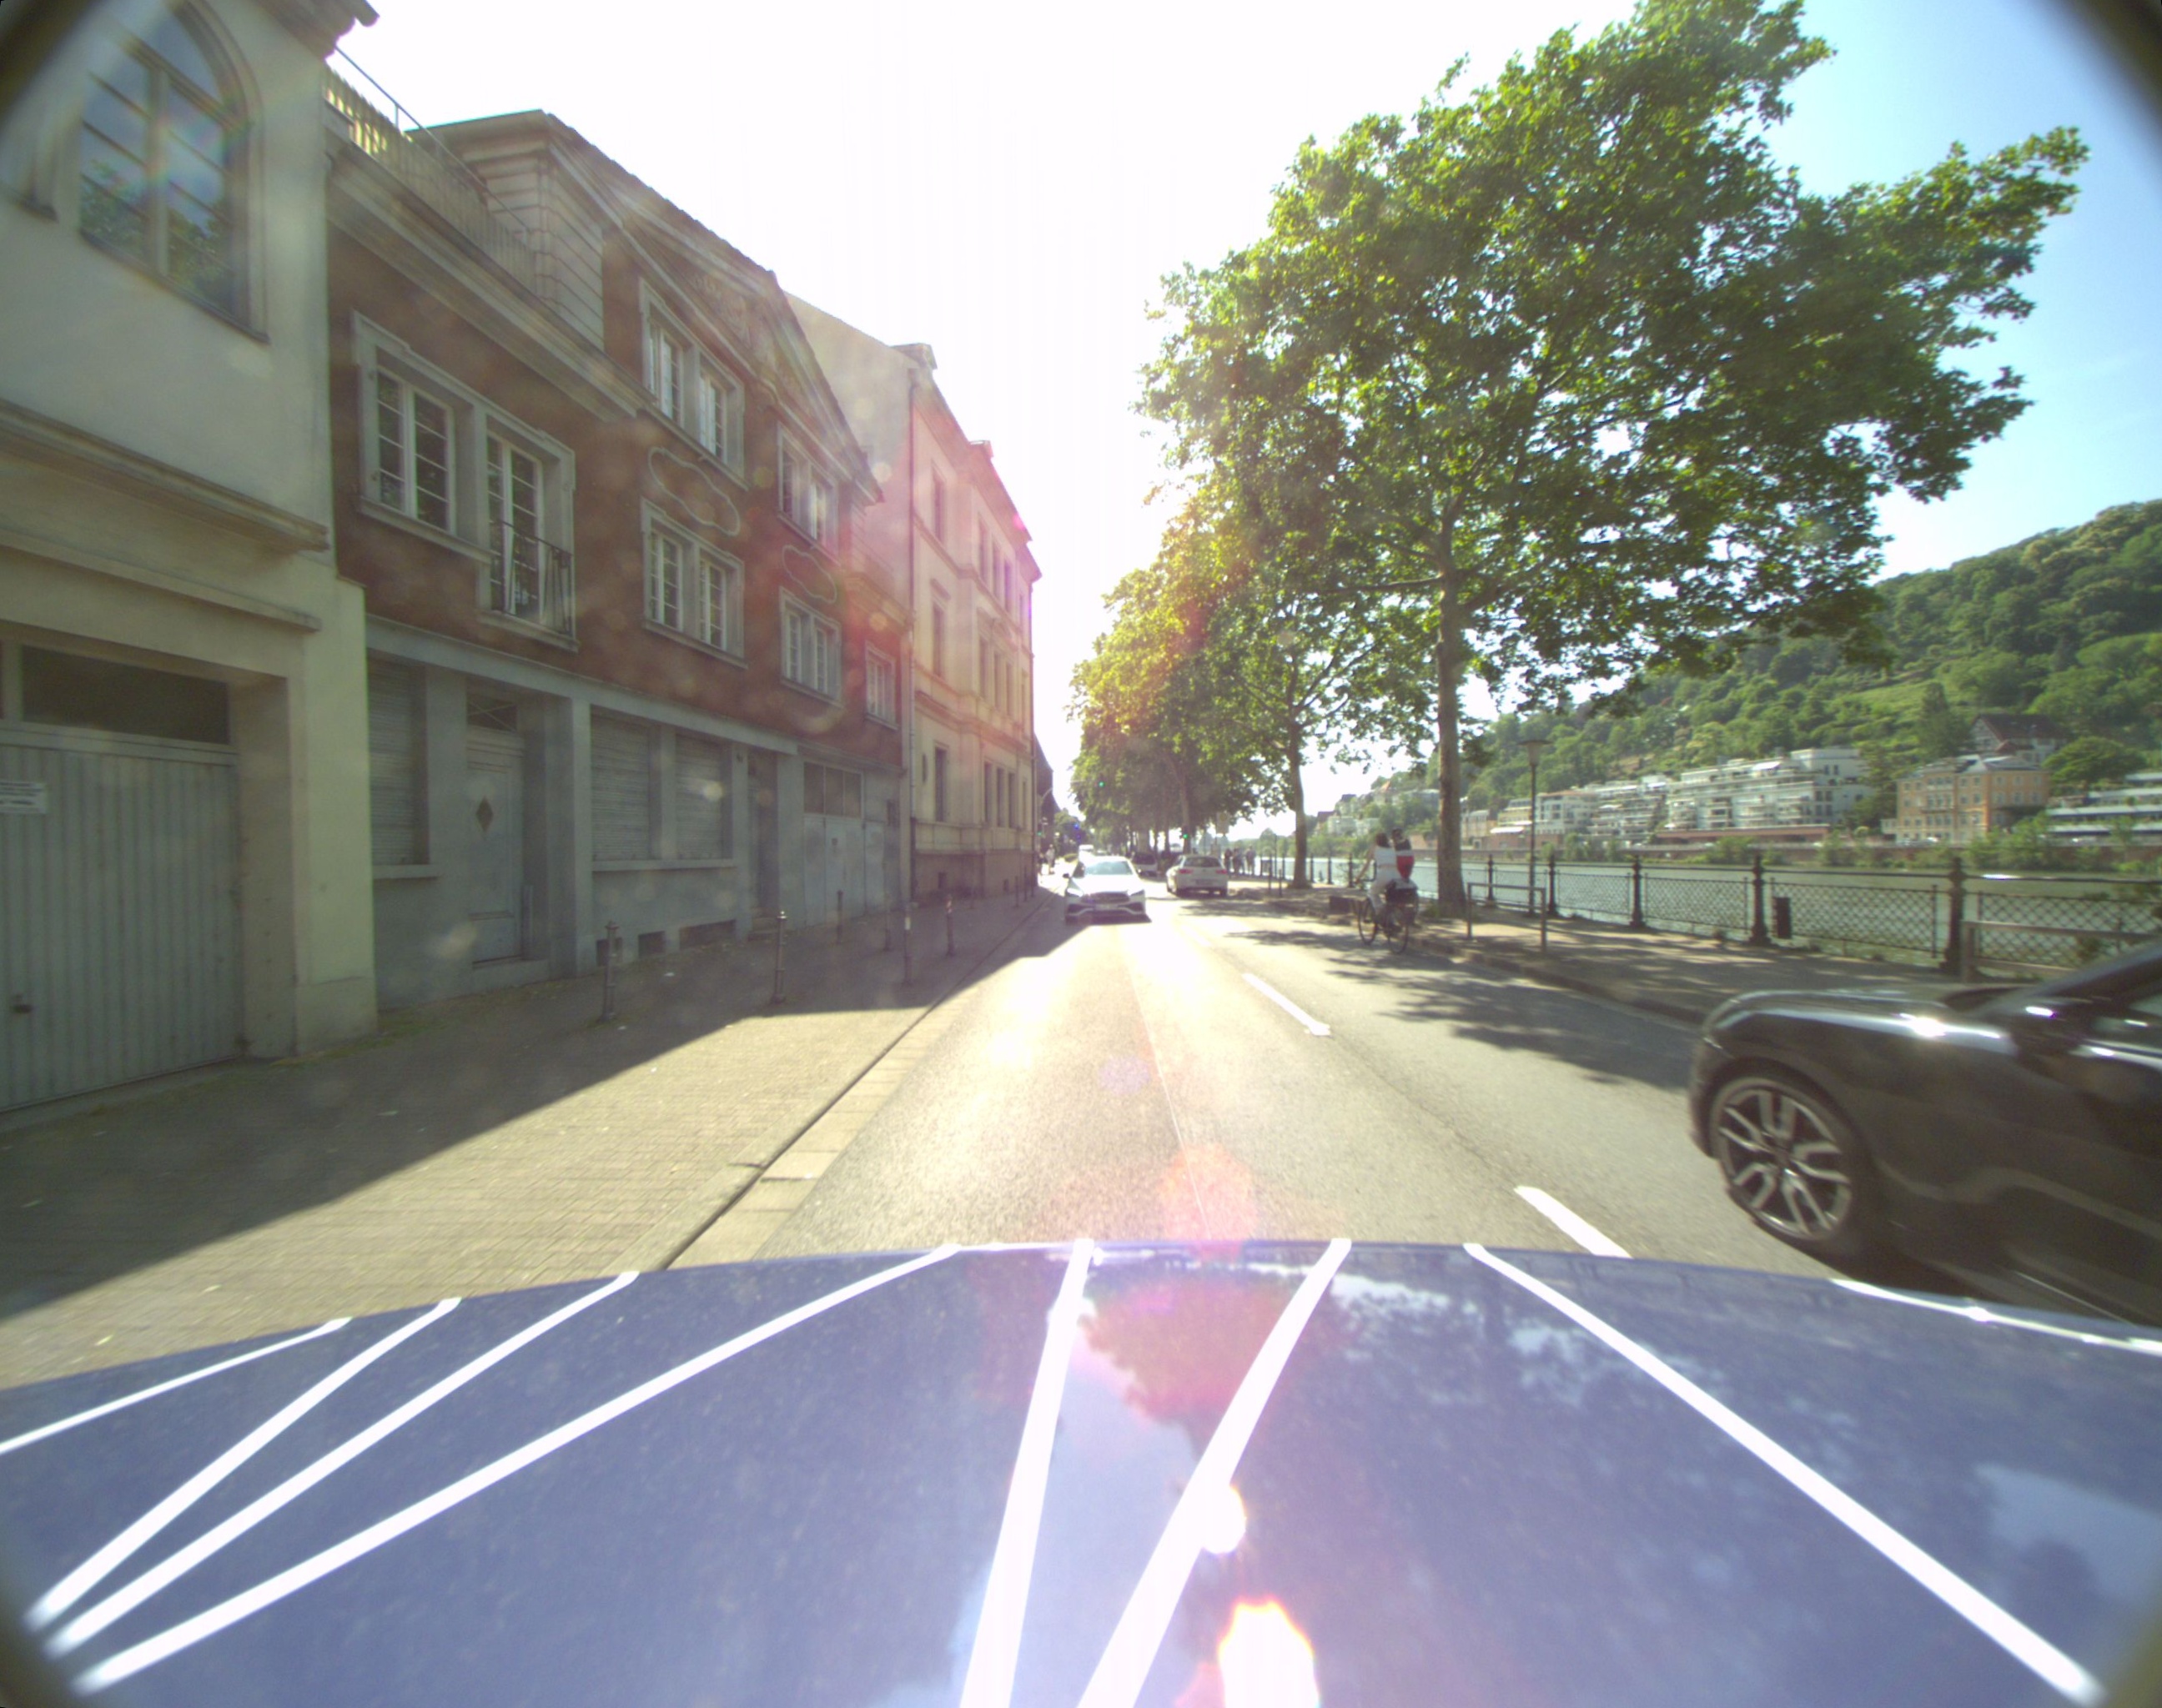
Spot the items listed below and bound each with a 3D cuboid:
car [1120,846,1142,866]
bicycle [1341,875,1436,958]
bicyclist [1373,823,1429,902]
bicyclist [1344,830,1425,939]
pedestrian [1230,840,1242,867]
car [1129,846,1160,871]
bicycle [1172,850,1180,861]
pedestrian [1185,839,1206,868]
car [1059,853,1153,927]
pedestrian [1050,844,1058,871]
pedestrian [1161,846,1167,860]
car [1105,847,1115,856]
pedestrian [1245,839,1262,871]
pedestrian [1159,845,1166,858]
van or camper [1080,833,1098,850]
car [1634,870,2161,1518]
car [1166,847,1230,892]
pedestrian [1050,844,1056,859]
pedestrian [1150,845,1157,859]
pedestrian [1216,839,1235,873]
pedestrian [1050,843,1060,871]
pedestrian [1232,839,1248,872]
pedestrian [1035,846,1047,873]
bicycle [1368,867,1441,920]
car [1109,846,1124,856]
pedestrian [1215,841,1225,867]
[{"bbox_3d":[4.094,0.155,62.747,1.705,1.509,4.404,2,1,2],"label":"car"},{"bbox_3d":[4.527,0.884,11.345,0.742,1.071,1.954,-2,0,5],"label":"bicycle"},{"bbox_3d":[6.546,0.162,15.588,0.721,1.574,1.089,0,1,3],"label":"bicyclist"},{"bbox_3d":[4.485,0.449,11.296,0.768,1.522,1.025,-2,-1,3],"label":"bicyclist"},{"bbox_3d":[9.732,-0.049,47.704,0.620,1.690,0.696,-1,1,0],"label":"pedestrian"},{"bbox_3d":[4.036,0.240,48.715,1.739,1.509,4.404,-1,1,2],"label":"car"},{"bbox_3d":[10.498,0.126,83.796,0.564,1.146,1.844,-2,1,0],"label":"bicycle"},{"bbox_3d":[7.214,-0.034,47.962,1.022,1.763,0.770,1,2,41],"label":"pedestrian"},{"bbox_3d":[0.535,0.720,17.584,1.875,1.416,4.744,-1,1,1],"label":"car"},{"bbox_3d":[-1.721,0.236,48.521,0.528,1.702,0.665,0,1,0],"label":"pedestrian"},{"bbox_3d":[10.179,-0.137,93.237,0.633,1.618,0.552,0,1,0],"label":"pedestrian"},{"bbox_3d":[4.885,-0.493,129.434,1.705,1.509,4.404,-1,1,2],"label":"car"},{"bbox_3d":[9.457,0.056,41.578,0.713,1.754,0.972,0,1,0],"label":"pedestrian"},{"bbox_3d":[10.048,-0.328,93.464,0.793,1.674,0.709,0,1,0],"label":"pedestrian"},{"bbox_3d":[1.061,-1.770,104.589,2.437,2.271,6.203,0,1,0],"label":"van or camper"},{"bbox_3d":[3.373,0.832,1.482,1.705,1.450,4.001,0,1,1],"label":"car"},{"bbox_3d":[4.050,0.520,26.923,1.705,1.436,4.092,-2,0,1],"label":"car"},{"bbox_3d":[-3.363,-0.292,92.138,0.556,1.844,1.024,-1,1,9],"label":"pedestrian"},{"bbox_3d":[9.054,-0.289,94.568,0.760,1.720,0.729,0,1,0],"label":"pedestrian"},{"bbox_3d":[7.485,0.096,39.303,0.837,1.704,0.782,0,1,0],"label":"pedestrian"},{"bbox_3d":[-1.685,0.197,49.270,0.617,1.841,0.730,0,1,1],"label":"pedestrian"},{"bbox_3d":[8.269,0.066,39.499,0.654,1.704,0.793,1,1,-2],"label":"pedestrian"},{"bbox_3d":[-2.500,0.313,47.290,0.717,1.666,0.682,0,1,0],"label":"pedestrian"},{"bbox_3d":[6.543,0.764,15.491,0.756,0.973,1.953,0,0,3],"label":"bicycle"},{"bbox_3d":[4.993,-0.433,106.770,1.845,1.262,4.261,3,1,0],"label":"car"},{"bbox_3d":[8.915,-0.015,48.813,0.495,1.608,0.991,0,1,0],"label":"pedestrian"}]
